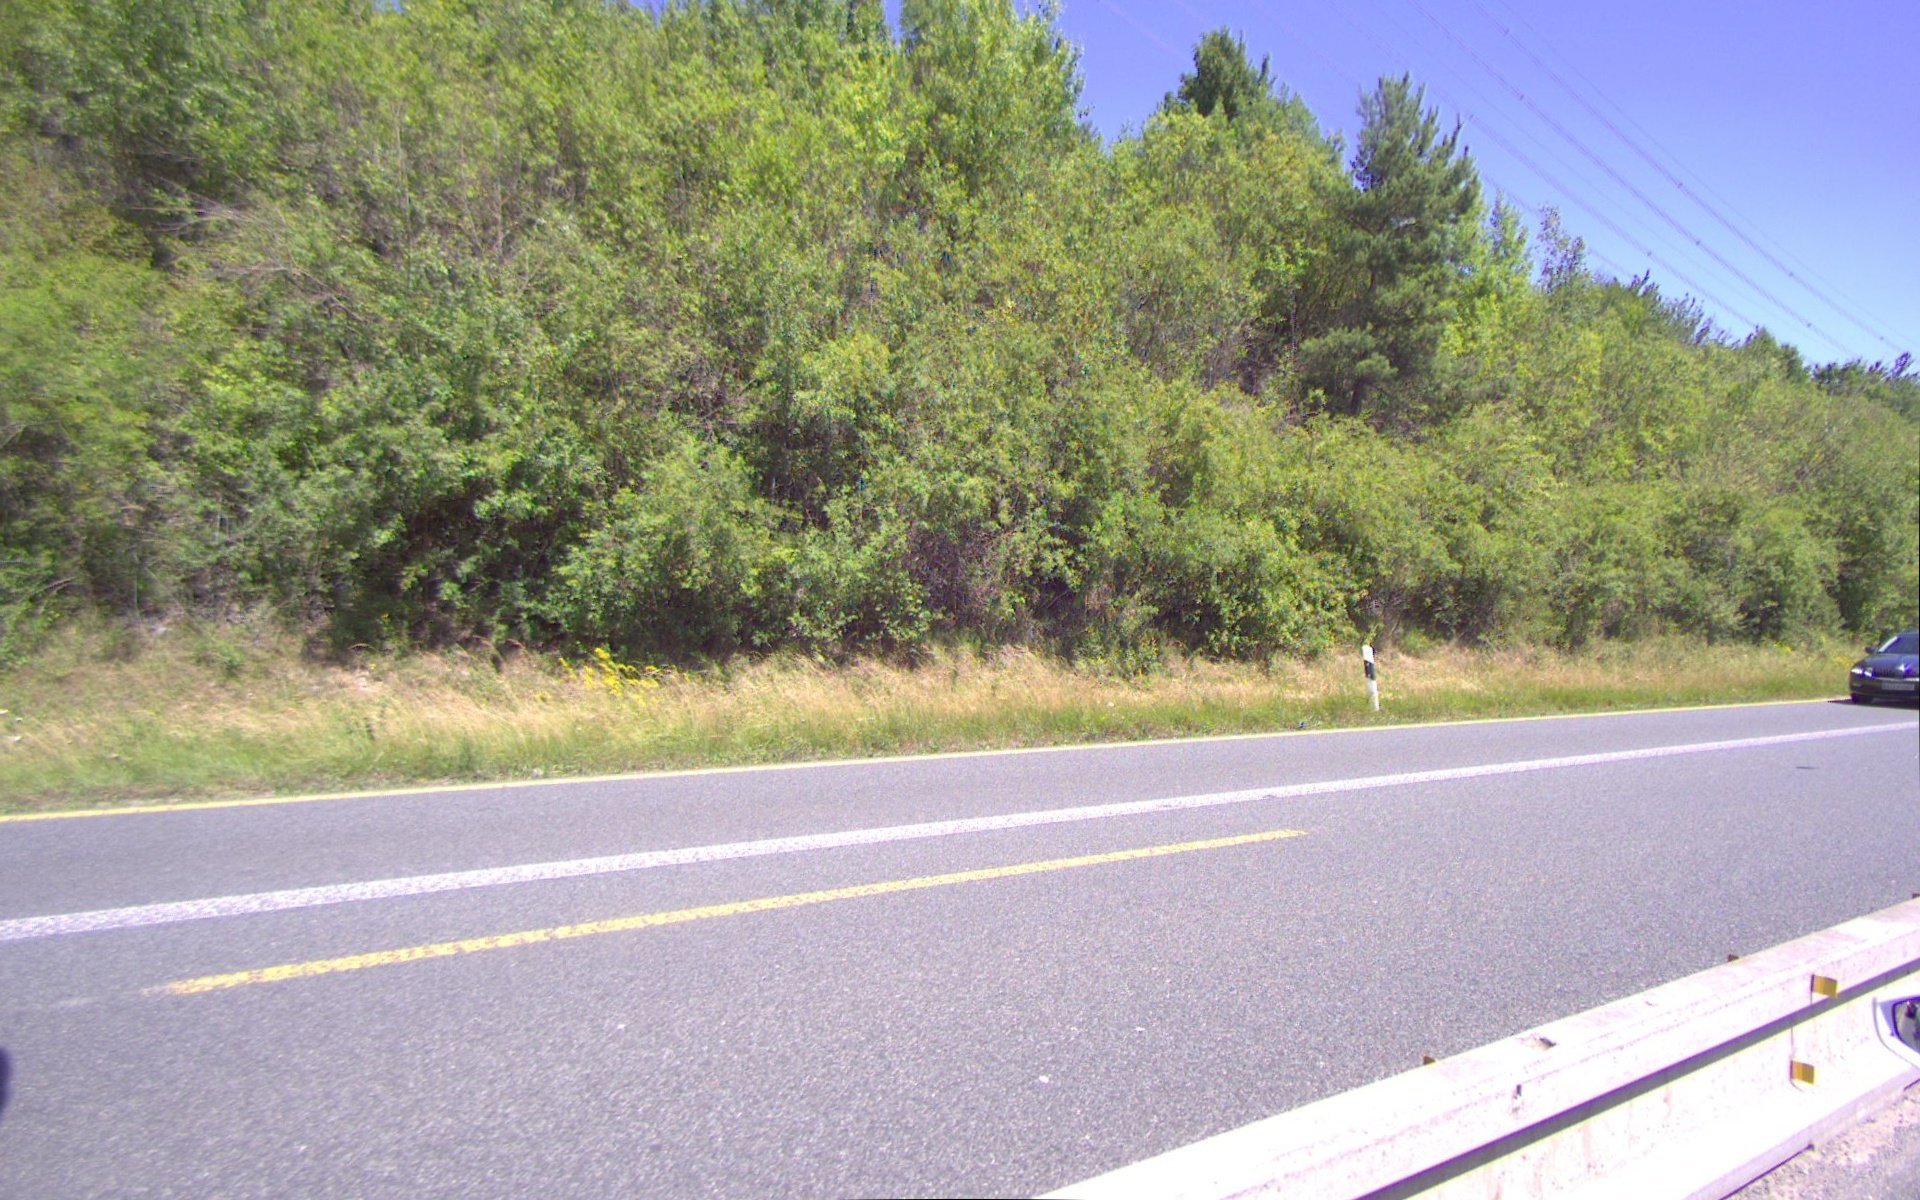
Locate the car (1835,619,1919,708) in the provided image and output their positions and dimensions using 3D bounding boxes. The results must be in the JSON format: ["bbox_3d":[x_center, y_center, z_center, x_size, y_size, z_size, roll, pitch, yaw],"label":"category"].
[{"bbox_3d":[18.676,1.187,19.194,4.135,1.542,1.715,1,0,-30],"label":"car"}]

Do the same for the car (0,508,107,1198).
[{"bbox_3d":[-4.114,0.527,1.047,4.617,1.554,1.834,1,0,-31],"label":"car"}]
